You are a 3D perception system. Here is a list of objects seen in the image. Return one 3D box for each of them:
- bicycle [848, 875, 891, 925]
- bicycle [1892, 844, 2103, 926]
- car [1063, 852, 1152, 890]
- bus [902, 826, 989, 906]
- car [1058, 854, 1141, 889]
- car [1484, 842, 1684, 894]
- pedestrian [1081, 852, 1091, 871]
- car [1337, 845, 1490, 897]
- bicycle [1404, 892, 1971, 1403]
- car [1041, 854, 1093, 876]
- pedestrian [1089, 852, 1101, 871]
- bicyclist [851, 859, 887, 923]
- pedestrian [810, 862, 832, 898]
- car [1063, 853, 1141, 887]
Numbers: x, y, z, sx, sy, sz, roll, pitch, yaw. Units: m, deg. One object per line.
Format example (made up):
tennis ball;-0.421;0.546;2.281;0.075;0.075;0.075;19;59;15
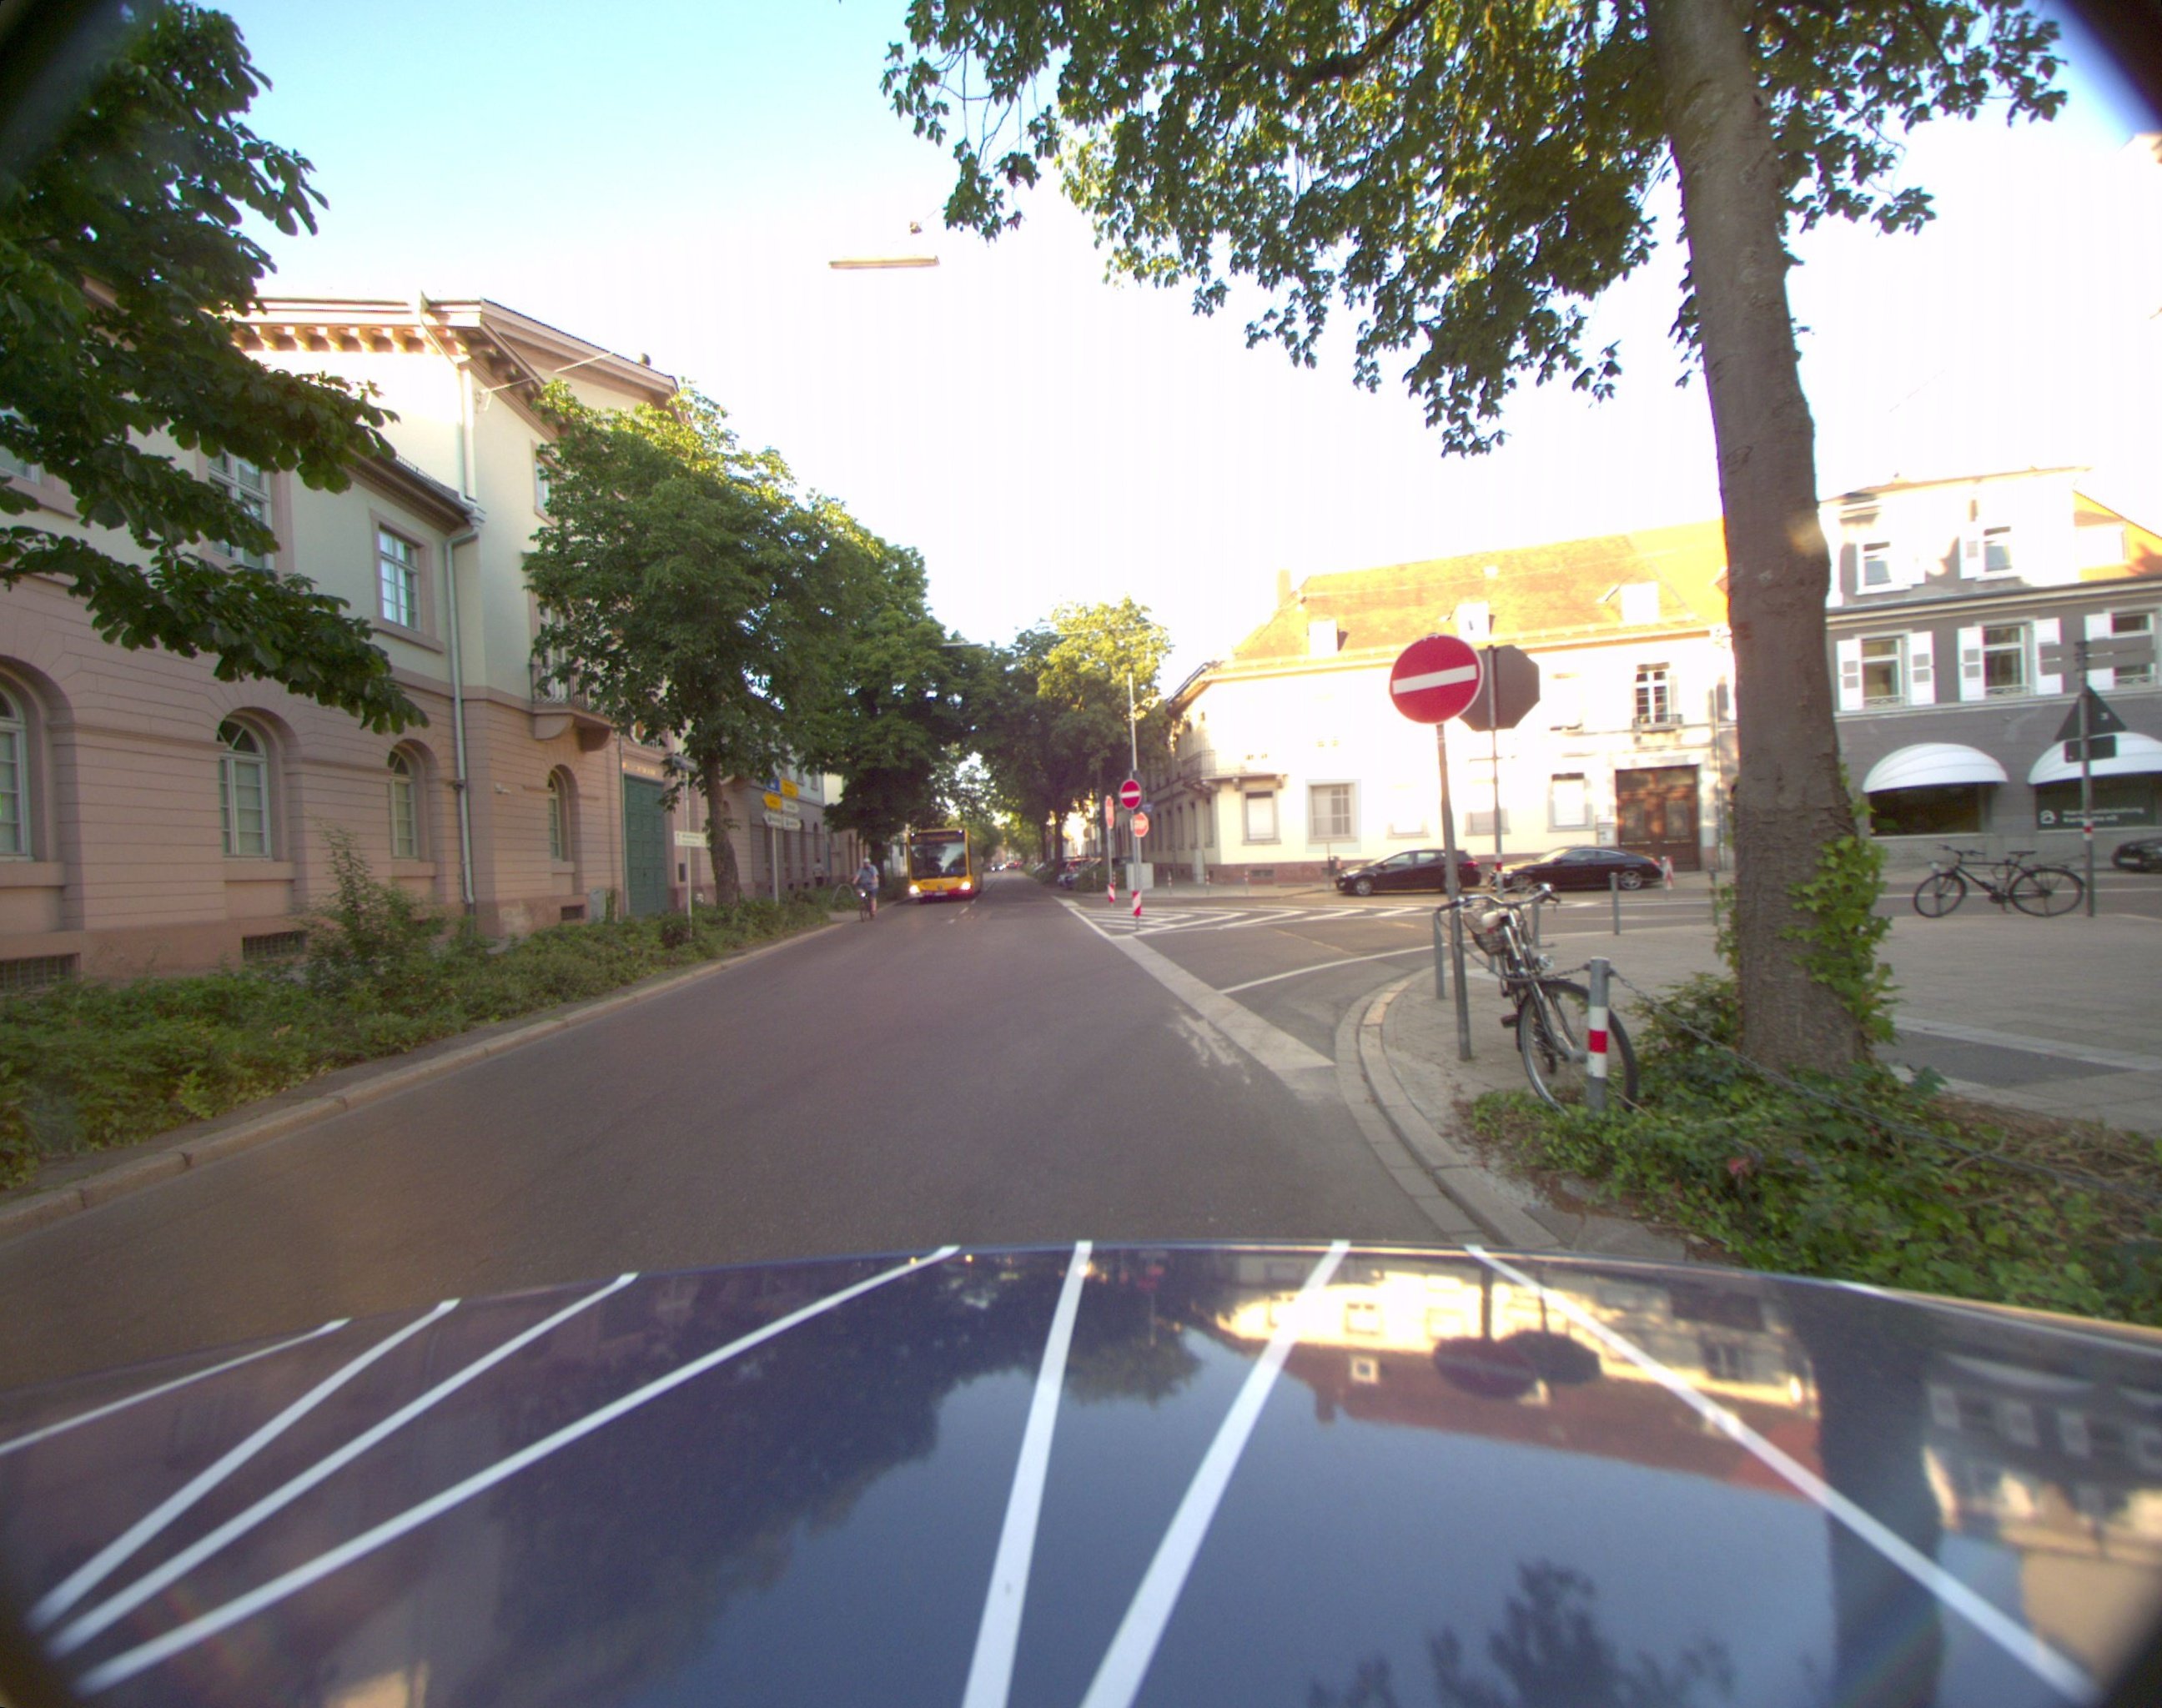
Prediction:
bicycle;-6.317;1.342;22.797;0.783;1.322;2.077;-4;0;-5
bicycle;13.424;0.475;11.211;1.799;1.119;0.730;-3;-3;26
car;1.233;0.782;36.441;3.999;1.605;1.828;-2;0;-7
bus;-6.125;0.504;36.282;2.712;2.983;12.077;-4;0;-5
car;0.925;0.883;38.822;3.999;1.605;1.722;-2;0;-7
car;15.346;0.455;23.508;4.847;1.386;1.781;-2;-1;19
pedestrian;0.457;0.683;71.816;0.807;1.760;1.021;-2;0;-6
car;10.805;0.579;25.031;4.422;1.532;1.810;-2;-1;18
bicycle;2.216;0.875;3.402;0.844;1.260;2.574;-2;0;10
car;-1.151;0.886;61.162;3.999;1.605;1.722;-2;0;-7
pedestrian;1.340;0.666;72.027;0.895;1.760;1.021;-2;0;-6
bicyclist;-6.330;1.088;22.719;0.783;1.828;0.826;-4;1;-5
pedestrian;-13.670;1.355;39.972;0.801;1.821;0.929;-2;0;-7
car;1.104;0.845;41.278;3.999;1.605;1.722;-2;0;-7
